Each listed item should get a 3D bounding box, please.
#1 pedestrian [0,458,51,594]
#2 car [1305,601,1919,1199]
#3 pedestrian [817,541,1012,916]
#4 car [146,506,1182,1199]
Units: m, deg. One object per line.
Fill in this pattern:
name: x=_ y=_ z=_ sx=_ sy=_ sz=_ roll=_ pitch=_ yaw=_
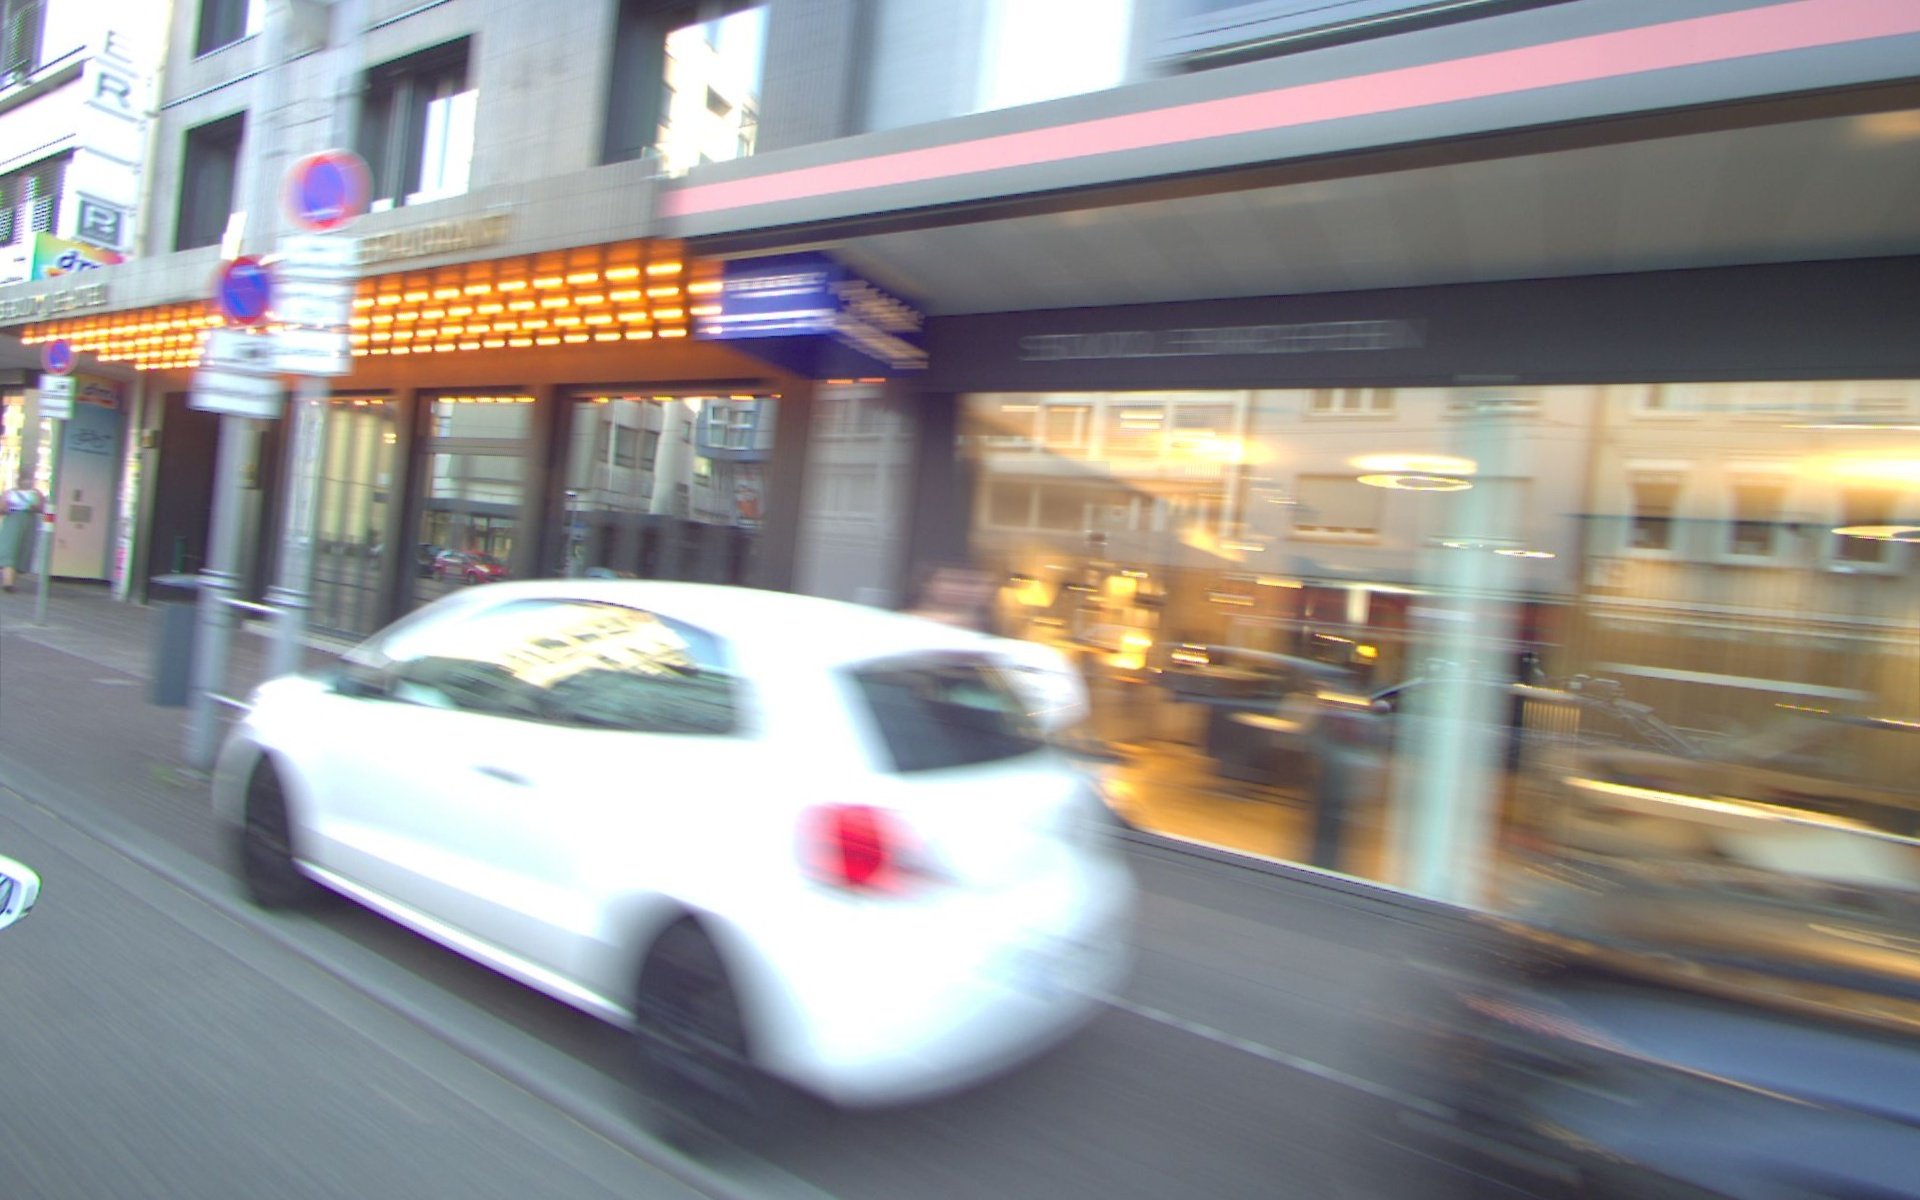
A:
pedestrian: x=-13.822 y=-1.077 z=14.797 sx=0.414 sy=1.923 sz=0.452 roll=7 pitch=1 yaw=31
car: x=2.755 y=1.044 z=1.479 sx=3.968 sy=1.594 sz=1.671 roll=7 pitch=0 yaw=32
pedestrian: x=-0.229 y=0.629 z=5.240 sx=0.595 sy=1.775 sz=0.609 roll=7 pitch=1 yaw=31
car: x=-1.331 y=0.608 z=3.911 sx=3.822 sy=1.563 sz=1.678 roll=7 pitch=1 yaw=33
